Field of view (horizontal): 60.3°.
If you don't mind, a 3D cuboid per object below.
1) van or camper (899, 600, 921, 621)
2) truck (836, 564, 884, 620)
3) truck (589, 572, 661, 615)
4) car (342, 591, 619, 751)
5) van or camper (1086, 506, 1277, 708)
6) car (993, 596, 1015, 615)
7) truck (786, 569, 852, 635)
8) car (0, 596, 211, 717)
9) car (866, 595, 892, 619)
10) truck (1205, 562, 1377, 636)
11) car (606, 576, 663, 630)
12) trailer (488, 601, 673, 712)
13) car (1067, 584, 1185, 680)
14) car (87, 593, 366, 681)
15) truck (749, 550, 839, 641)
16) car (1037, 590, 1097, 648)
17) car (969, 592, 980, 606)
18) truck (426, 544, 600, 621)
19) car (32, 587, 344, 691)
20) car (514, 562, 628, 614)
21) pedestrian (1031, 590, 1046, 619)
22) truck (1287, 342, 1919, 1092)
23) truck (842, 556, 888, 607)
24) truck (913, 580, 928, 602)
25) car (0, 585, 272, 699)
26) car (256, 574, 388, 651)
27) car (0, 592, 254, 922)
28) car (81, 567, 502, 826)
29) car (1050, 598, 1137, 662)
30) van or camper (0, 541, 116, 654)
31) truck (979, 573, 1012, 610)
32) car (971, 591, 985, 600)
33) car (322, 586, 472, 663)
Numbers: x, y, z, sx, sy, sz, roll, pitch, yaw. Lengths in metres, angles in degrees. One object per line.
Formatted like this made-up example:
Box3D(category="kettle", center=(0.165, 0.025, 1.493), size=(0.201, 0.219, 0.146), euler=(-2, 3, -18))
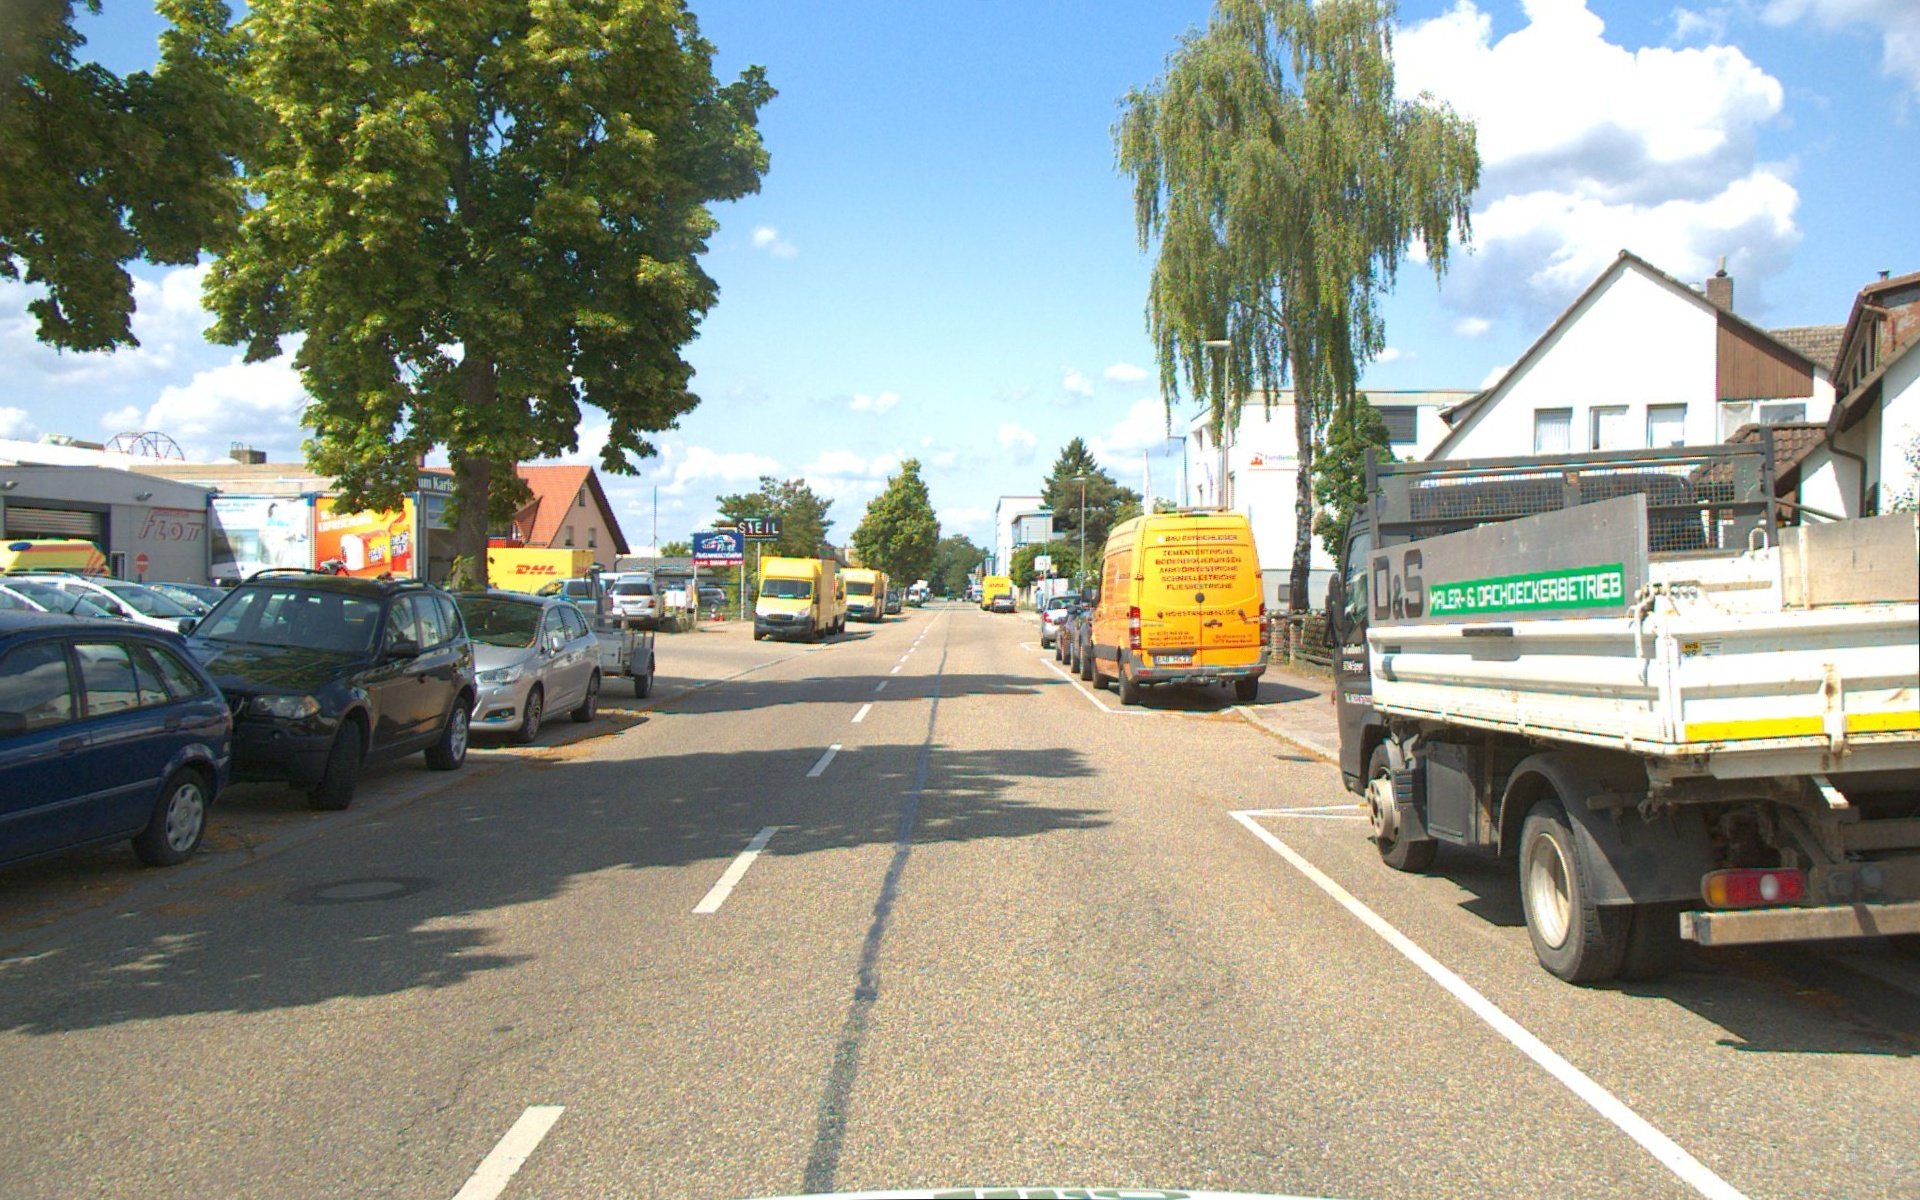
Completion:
Box3D(category="van or camper", center=(-6.059, 1.299, 201.049), size=(2.128, 2.455, 7.700), euler=(0, 0, 3))
Box3D(category="truck", center=(-5.442, -0.397, 91.092), size=(2.223, 2.904, 7.173), euler=(1, 0, -1))
Box3D(category="truck", center=(-20.240, -0.428, 100.151), size=(2.065, 2.531, 5.725), euler=(0, 0, 13))
Box3D(category="car", center=(-5.315, 0.710, 18.954), size=(1.795, 1.555, 4.238), euler=(2, 1, 2))
Box3D(category="van or camper", center=(3.207, 0.073, 25.166), size=(1.953, 2.710, 5.767), euler=(0, 0, -2))
Box3D(category="car", center=(3.425, 0.438, 129.569), size=(1.618, 1.411, 4.423), euler=(1, 1, 0))
Box3D(category="truck", center=(-5.489, 0.062, 65.011), size=(1.952, 2.456, 6.065), euler=(0, 0, 1))
Box3D(category="car", center=(-11.901, 0.694, 20.875), size=(4.058, 1.456, 1.828), euler=(0, 0, 2))
Box3D(category="car", center=(-5.814, 0.503, 119.041), size=(1.690, 1.632, 4.412), euler=(3, 0, -2))
Box3D(category="truck", center=(12.229, -0.047, 61.131), size=(5.966, 2.622, 2.545), euler=(0, 0, -27))
Box3D(category="car", center=(-11.569, 0.054, 58.993), size=(1.795, 1.735, 4.699), euler=(0, 2, -9))
Box3D(category="trailer", center=(-5.355, 0.738, 23.910), size=(1.726, 1.312, 4.506), euler=(3, 0, -2))
Box3D(category="car", center=(3.044, 0.545, 31.122), size=(1.795, 1.668, 4.239), euler=(0, 0, 0))
Box3D(category="car", center=(-12.454, 0.607, 28.217), size=(3.941, 1.398, 1.828), euler=(1, 0, 5))
Box3D(category="truck", center=(-5.673, -0.163, 57.455), size=(2.174, 2.907, 7.070), euler=(2, 0, 1))
Box3D(category="car", center=(3.117, 0.514, 48.705), size=(1.577, 1.608, 4.001), euler=(1, 0, 1))
Box3D(category="car", center=(2.255, -0.102, 257.826), size=(1.672, 2.126, 3.999), euler=(0, 0, -1))
Box3D(category="truck", center=(-18.482, -0.752, 68.505), size=(6.457, 2.899, 2.531), euler=(2, 1, 13))
Box3D(category="car", center=(-11.815, 0.582, 25.485), size=(3.942, 1.516, 1.828), euler=(0, 0, 2))
Box3D(category="car", center=(-15.180, -0.470, 64.593), size=(3.845, 1.841, 1.857), euler=(2, 1, 10))
Box3D(category="pedestrian", center=(4.903, 0.295, 102.863), size=(0.702, 1.726, 0.522), euler=(-5, 0, -5))
Box3D(category="truck", center=(3.475, 0.308, 8.212), size=(2.470, 2.339, 5.895), euler=(-3, 0, 0))
Box3D(category="truck", center=(-5.726, -1.091, 100.679), size=(2.269, 2.912, 7.104), euler=(2, 0, 0))
Box3D(category="truck", center=(-5.839, -1.352, 245.507), size=(1.988, 3.209, 6.499), euler=(0, 0, 0))
Box3D(category="car", center=(-12.038, 0.576, 23.112), size=(4.058, 1.516, 1.828), euler=(0, 0, 2))
Box3D(category="car", center=(-14.638, 0.266, 38.113), size=(1.412, 1.684, 3.303), euler=(0, 0, 8))
Box3D(category="car", center=(-5.397, 0.760, 8.300), size=(1.663, 1.509, 4.161), euler=(2, 1, 4))
Box3D(category="car", center=(-5.219, 0.645, 13.617), size=(1.658, 1.729, 4.400), euler=(2, 0, -1))
Box3D(category="car", center=(3.040, 0.664, 38.404), size=(1.635, 1.358, 4.437), euler=(0, 0, 0))
Box3D(category="van or camper", center=(-22.180, -0.086, 38.310), size=(1.951, 2.518, 5.366), euler=(0, 1, 7))
Box3D(category="truck", center=(2.988, -0.730, 141.143), size=(2.424, 2.991, 7.187), euler=(1, 0, -1))
Box3D(category="car", center=(2.540, -0.649, 233.578), size=(1.889, 1.333, 4.000), euler=(0, 0, 0))
Box3D(category="car", center=(-12.087, 0.473, 35.770), size=(1.718, 1.560, 4.258), euler=(0, 0, 1))
